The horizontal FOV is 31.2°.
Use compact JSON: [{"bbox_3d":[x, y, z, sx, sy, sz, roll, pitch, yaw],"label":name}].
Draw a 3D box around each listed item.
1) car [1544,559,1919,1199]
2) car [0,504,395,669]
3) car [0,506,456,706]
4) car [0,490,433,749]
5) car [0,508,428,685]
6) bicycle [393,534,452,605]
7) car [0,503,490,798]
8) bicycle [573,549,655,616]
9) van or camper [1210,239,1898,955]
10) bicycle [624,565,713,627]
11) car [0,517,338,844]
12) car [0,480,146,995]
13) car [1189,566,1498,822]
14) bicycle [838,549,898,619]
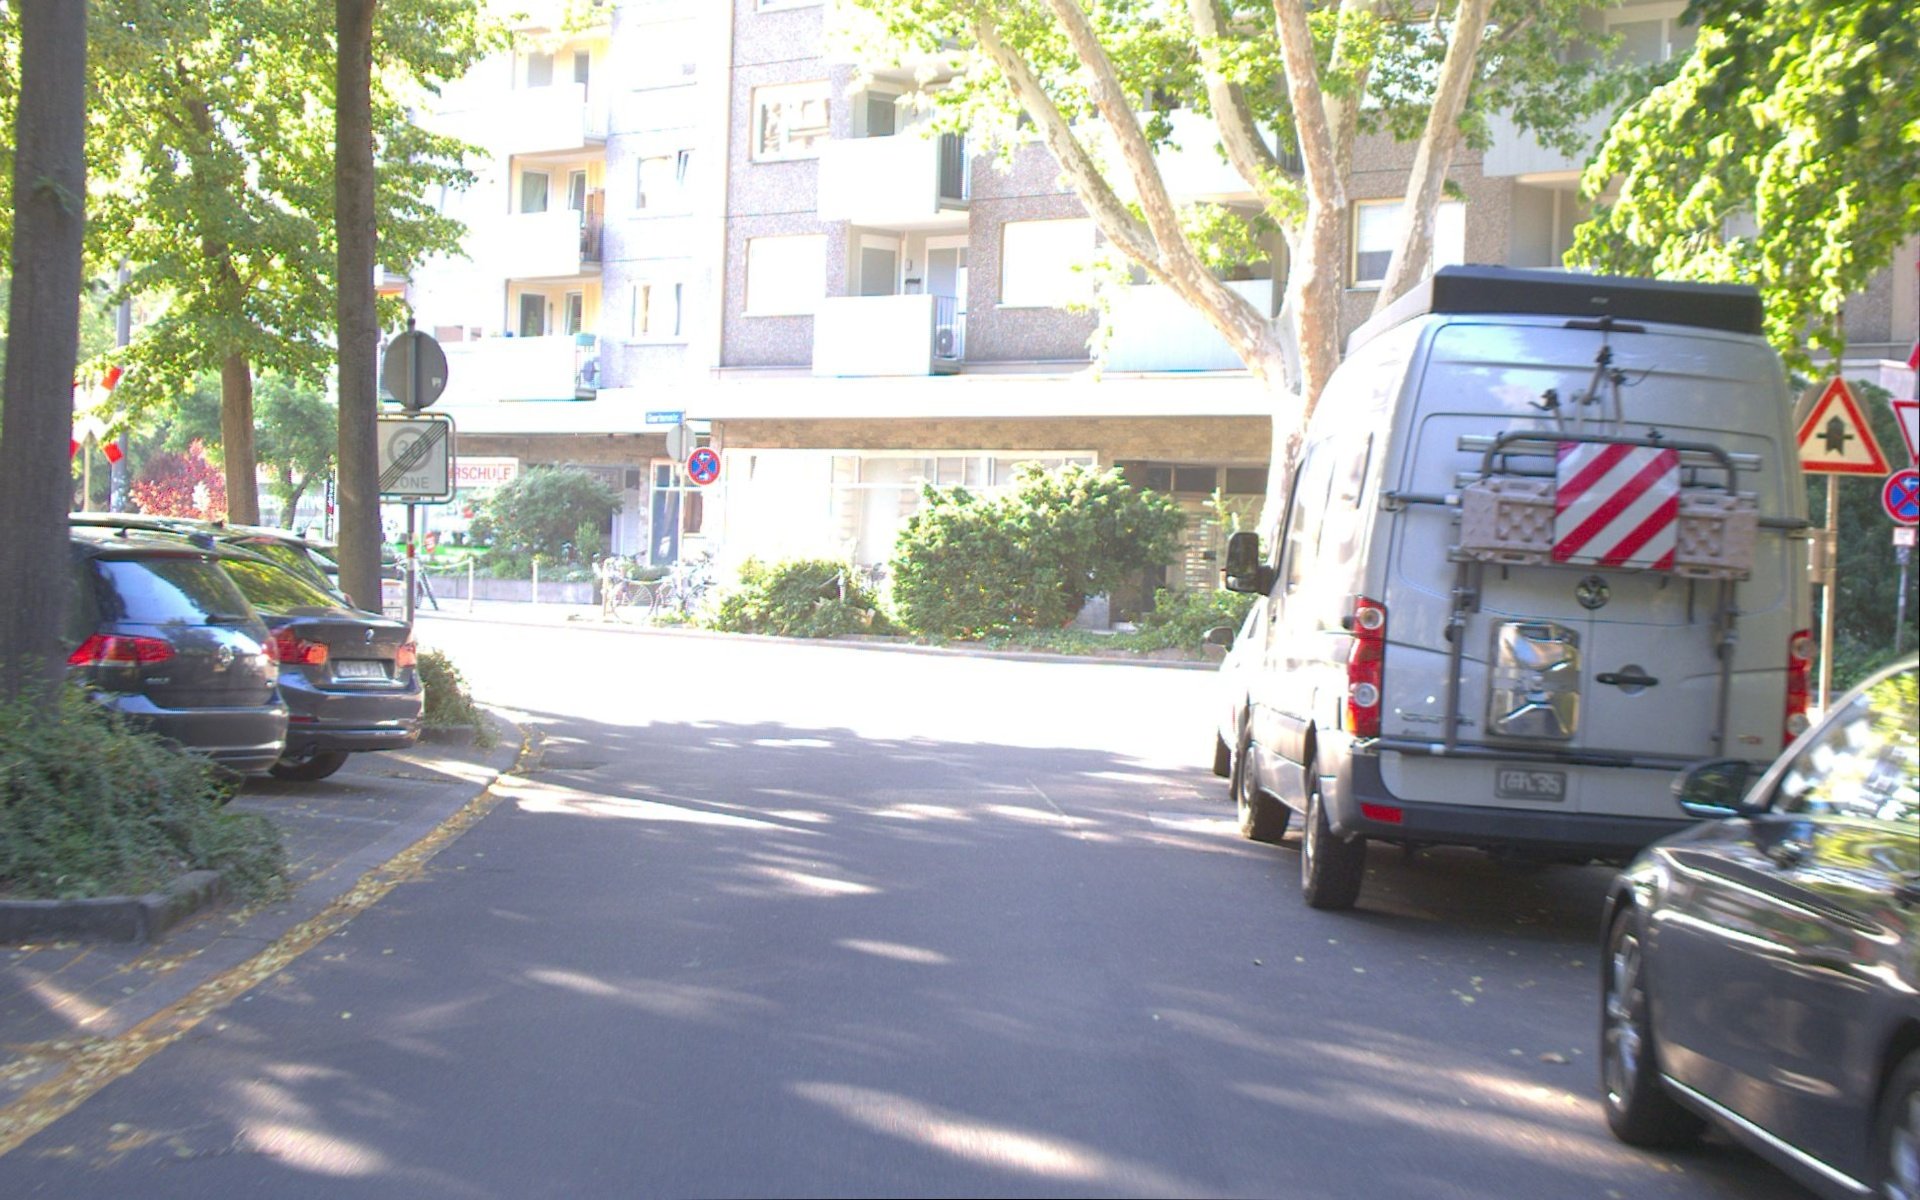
[{"bbox_3d":[2.570,0.719,7.549,1.680,1.520,4.490,2,1,-1],"label":"car"},{"bbox_3d":[-8.080,-0.167,34.703,4.283,1.424,1.773,3,1,15],"label":"car"},{"bbox_3d":[-6.518,0.023,29.191,3.975,1.360,1.773,5,1,14],"label":"car"},{"bbox_3d":[-5.800,0.069,23.531,3.877,1.488,1.829,5,1,25],"label":"car"},{"bbox_3d":[-7.215,-0.054,32.004,4.029,1.401,1.773,3,1,13],"label":"car"},{"bbox_3d":[-9.586,-0.553,61.230,0.638,1.222,2.089,1,1,-20],"label":"bicycle"},{"bbox_3d":[-5.119,0.206,20.356,4.192,1.434,1.829,5,1,23],"label":"car"},{"bbox_3d":[-5.565,-0.289,55.126,0.638,1.019,2.089,1,1,-25],"label":"bicycle"},{"bbox_3d":[2.555,-0.067,16.475,2.084,2.753,5.846,2,1,-1],"label":"van or camper"},{"bbox_3d":[-4.538,-0.066,53.432,0.542,0.901,1.736,1,1,-36],"label":"bicycle"},{"bbox_3d":[-5.362,0.273,17.502,3.865,1.434,1.829,5,1,23],"label":"car"},{"bbox_3d":[-5.115,0.260,11.435,4.351,1.621,1.938,5,1,26],"label":"car"},{"bbox_3d":[2.514,0.565,23.339,1.680,1.441,3.872,4,1,2],"label":"car"},{"bbox_3d":[-1.417,-0.249,52.764,0.348,1.034,1.052,0,2,-37],"label":"bicycle"}]
